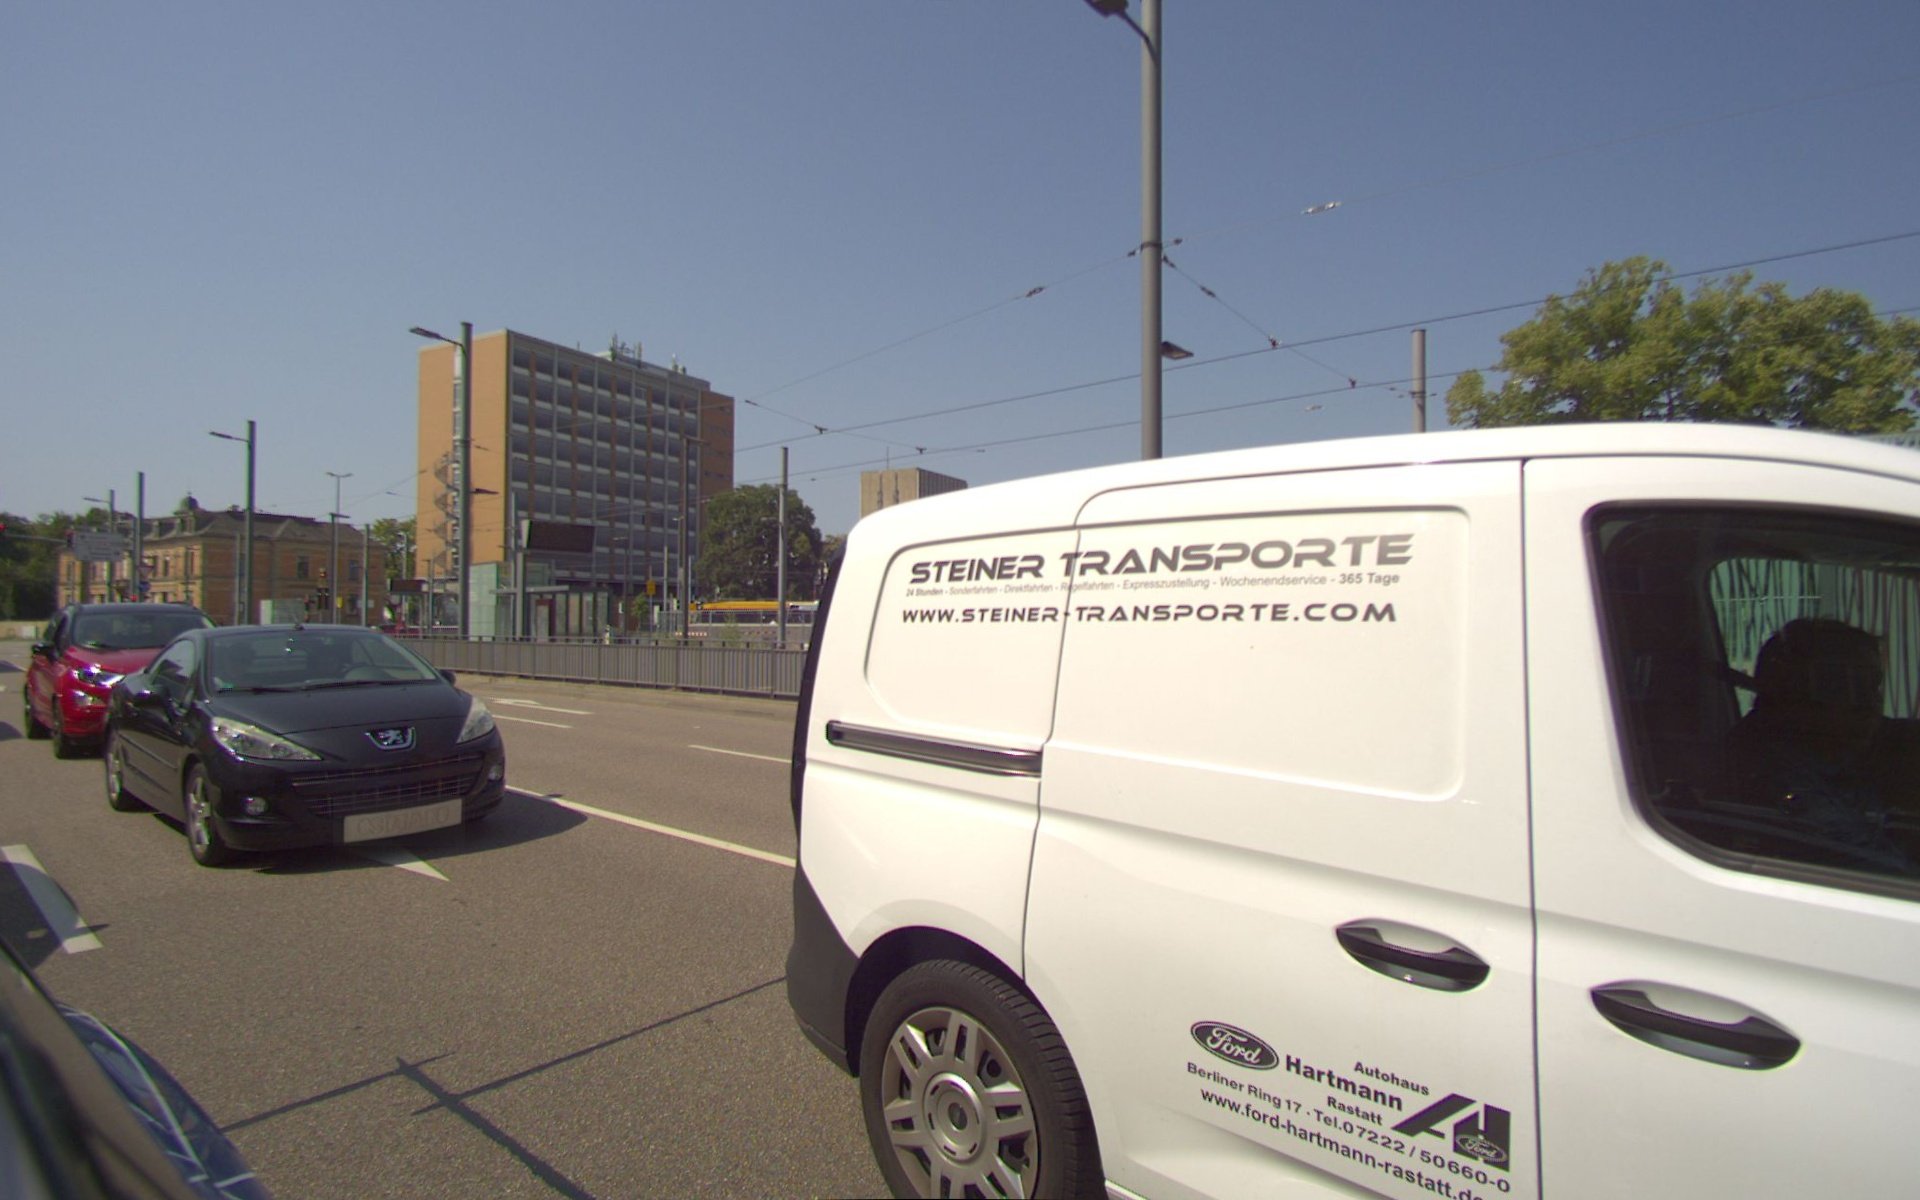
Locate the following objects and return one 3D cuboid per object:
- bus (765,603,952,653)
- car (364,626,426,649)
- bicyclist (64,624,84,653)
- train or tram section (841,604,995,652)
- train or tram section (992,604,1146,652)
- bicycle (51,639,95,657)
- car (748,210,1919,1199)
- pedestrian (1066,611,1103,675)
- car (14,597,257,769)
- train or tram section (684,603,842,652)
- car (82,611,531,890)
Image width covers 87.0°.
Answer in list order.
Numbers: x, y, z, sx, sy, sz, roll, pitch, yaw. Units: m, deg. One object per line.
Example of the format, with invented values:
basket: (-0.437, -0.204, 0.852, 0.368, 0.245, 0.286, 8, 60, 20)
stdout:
bus: (-7.296, 1.992, 73.623, 13.205, 3.319, 3.354, -1, 0, -4)
car: (-45.856, 3.012, 82.204, 4.215, 1.745, 1.888, -1, 0, -34)
bicyclist: (-59.811, 2.611, 68.333, 0.845, 1.916, 0.666, -1, -1, -28)
train or tram section: (-3.344, 2.260, 81.180, 12.180, 3.794, 2.002, 0, -2, -4)
train or tram section: (8.784, 2.303, 82.077, 12.180, 3.794, 2.002, 0, -2, -4)
bicycle: (-59.831, 3.227, 68.302, 2.149, 1.109, 0.666, -1, 0, -28)
car: (1.610, 0.476, 1.849, 4.237, 1.834, 1.729, -1, -1, 41)
pedestrian: (3.526, 1.219, 28.741, 0.761, 1.801, 0.735, -2, -3, 42)
car: (-9.533, 0.824, 11.596, 3.967, 1.633, 1.612, -1, -1, 43)
train or tram section: (-15.500, 2.197, 80.280, 12.180, 3.794, 2.002, 0, -2, -4)
car: (-4.731, 0.815, 7.113, 3.799, 1.424, 1.671, -1, -1, 41)
